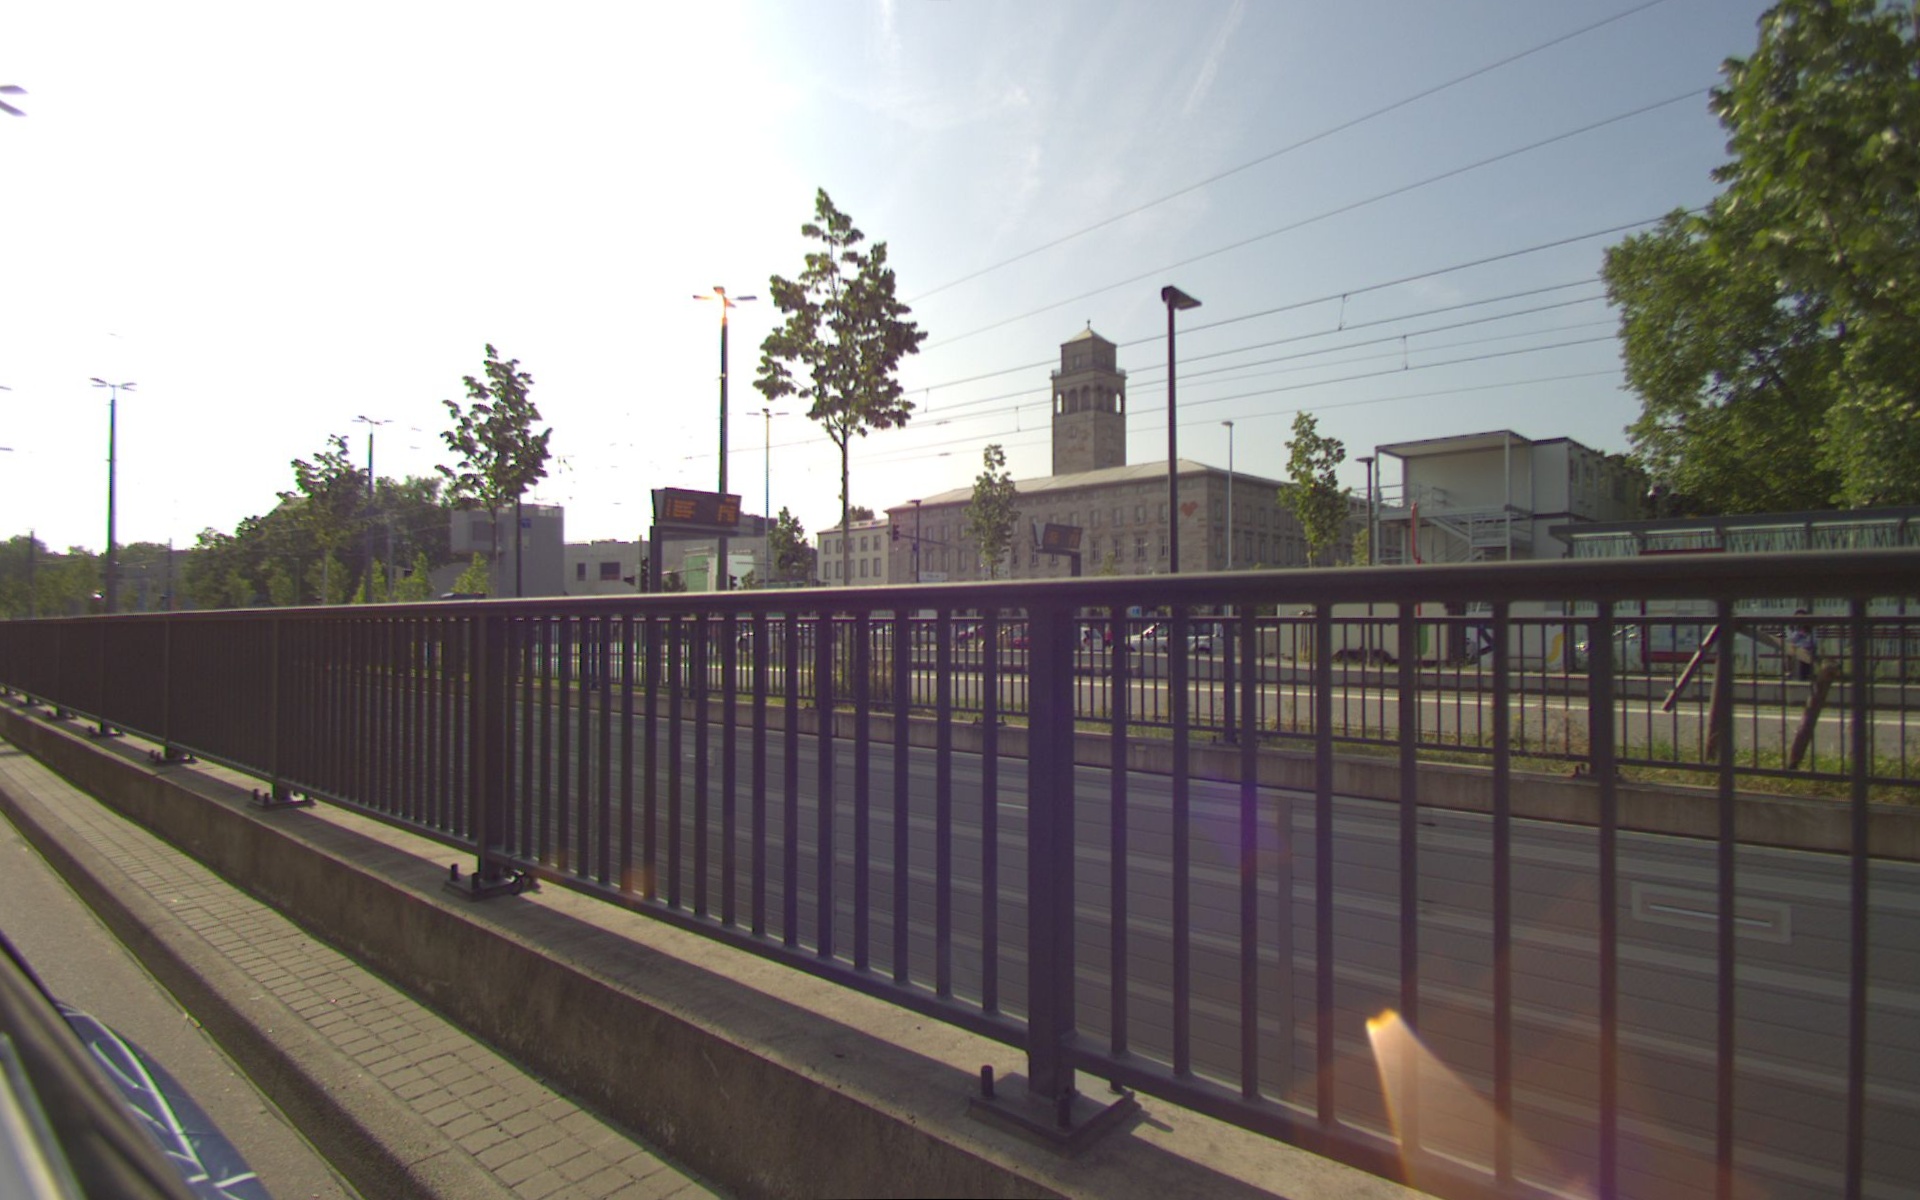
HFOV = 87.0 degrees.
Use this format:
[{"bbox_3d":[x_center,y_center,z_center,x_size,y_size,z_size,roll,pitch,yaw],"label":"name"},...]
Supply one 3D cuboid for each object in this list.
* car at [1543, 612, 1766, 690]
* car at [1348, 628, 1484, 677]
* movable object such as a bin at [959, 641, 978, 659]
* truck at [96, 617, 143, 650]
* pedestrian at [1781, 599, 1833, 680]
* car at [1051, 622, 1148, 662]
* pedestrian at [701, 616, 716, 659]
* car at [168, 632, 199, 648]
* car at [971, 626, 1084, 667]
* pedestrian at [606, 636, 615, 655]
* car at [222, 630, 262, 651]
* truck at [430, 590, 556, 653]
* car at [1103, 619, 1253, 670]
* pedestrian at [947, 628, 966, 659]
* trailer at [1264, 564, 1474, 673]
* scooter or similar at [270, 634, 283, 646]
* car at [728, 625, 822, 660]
[{"bbox_3d":[16.393,1.165,24.015,4.149,1.675,1.702,-2,-2,42],"label":"car"},{"bbox_3d":[16.139,1.828,35.948,4.067,1.594,1.702,-2,-2,43],"label":"car"},{"bbox_3d":[0.464,2.782,56.366,0.557,1.022,0.908,1,-3,-45],"label":"movable object such as a bin"},{"bbox_3d":[-102.862,4.124,123.751,10.420,3.838,2.940,-2,-2,42],"label":"truck"},{"bbox_3d":[14.096,0.649,16.854,0.592,1.310,0.674,-2,-3,38],"label":"pedestrian"},{"bbox_3d":[5.334,1.597,38.942,3.433,1.474,1.579,-2,-2,42],"label":"car"},{"bbox_3d":[-9.891,1.466,39.802,0.365,1.689,0.642,0,-2,-32],"label":"pedestrian"},{"bbox_3d":[-80.383,4.149,104.775,3.995,1.613,1.624,-2,-2,38],"label":"car"},{"bbox_3d":[2.379,1.635,36.121,3.693,1.372,1.704,-2,-2,38],"label":"car"},{"bbox_3d":[-31.577,4.091,91.523,0.598,1.710,0.538,1,-3,-44],"label":"pedestrian"},{"bbox_3d":[-63.589,3.612,89.650,4.511,1.802,1.601,-2,-2,37],"label":"car"},{"bbox_3d":[-28.571,1.403,61.726,8.870,3.614,2.995,-2,-2,36],"label":"truck"},{"bbox_3d":[6.806,1.384,31.886,4.400,1.481,1.626,-2,-2,40],"label":"car"},{"bbox_3d":[-0.195,2.458,57.028,0.553,1.747,1.007,1,-2,-45],"label":"pedestrian"},{"bbox_3d":[11.340,0.510,28.260,5.019,2.802,2.023,-2,0,41],"label":"trailer"},{"bbox_3d":[-62.003,3.624,91.746,1.381,1.155,0.534,-2,-2,36],"label":"scooter or similar"},{"bbox_3d":[-8.948,2.020,48.824,4.606,1.594,1.776,-2,-2,36],"label":"car"}]
